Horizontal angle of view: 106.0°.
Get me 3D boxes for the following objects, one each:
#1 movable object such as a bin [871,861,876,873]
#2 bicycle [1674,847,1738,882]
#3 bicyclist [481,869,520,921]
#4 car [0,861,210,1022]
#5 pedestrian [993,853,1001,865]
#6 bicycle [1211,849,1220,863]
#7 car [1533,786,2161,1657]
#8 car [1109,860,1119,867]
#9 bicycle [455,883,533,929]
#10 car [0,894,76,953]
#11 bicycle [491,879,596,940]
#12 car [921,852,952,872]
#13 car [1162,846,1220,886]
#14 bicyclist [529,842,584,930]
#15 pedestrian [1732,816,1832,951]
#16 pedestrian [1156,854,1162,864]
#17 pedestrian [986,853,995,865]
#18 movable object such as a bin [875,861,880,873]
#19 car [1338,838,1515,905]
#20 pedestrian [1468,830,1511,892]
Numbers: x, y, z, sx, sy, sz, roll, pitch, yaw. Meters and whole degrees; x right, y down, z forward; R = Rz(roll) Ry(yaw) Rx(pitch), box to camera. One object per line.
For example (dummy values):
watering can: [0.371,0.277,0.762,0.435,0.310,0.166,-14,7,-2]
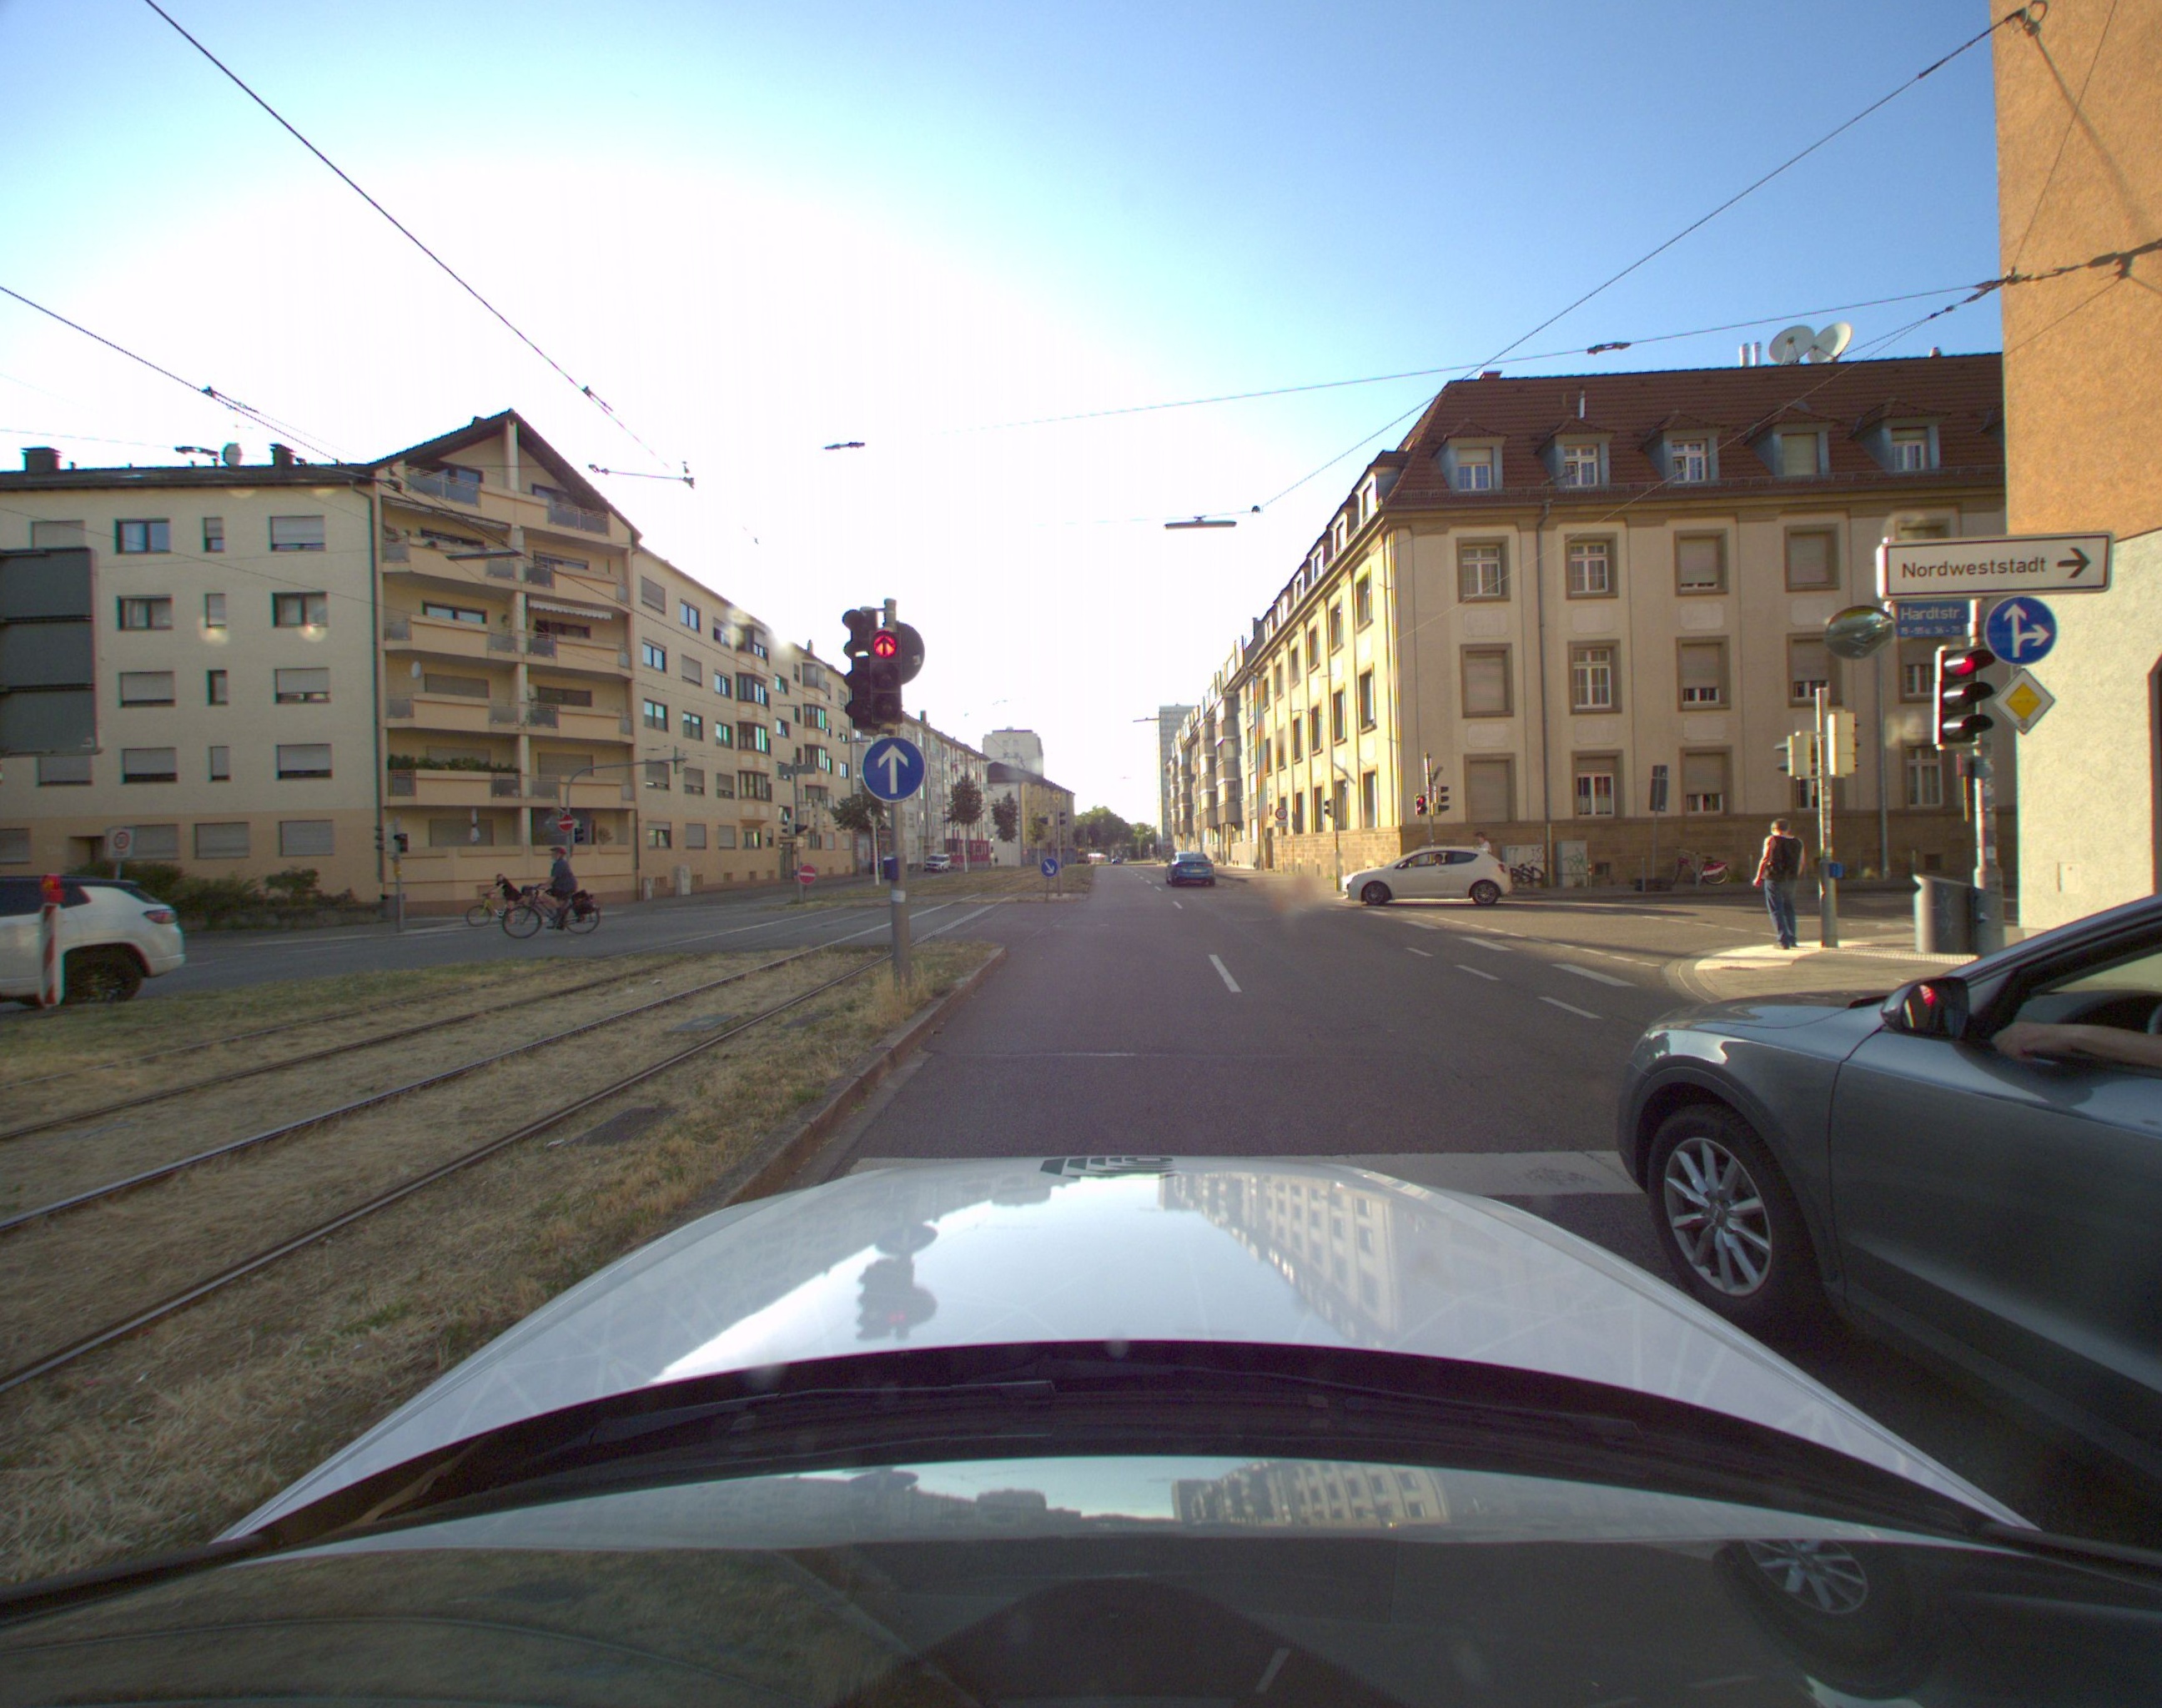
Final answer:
movable object such as a bin: [-17.536,1.122,68.926,0.297,1.036,0.442,0,-1,4]
bicycle: [18.391,0.325,23.992,1.491,1.018,0.251,-1,-1,17]
bicyclist: [-18.163,1.268,25.481,0.620,1.586,0.814,-1,0,35]
car: [-13.138,1.066,8.971,1.974,1.734,4.420,-5,-1,28]
pedestrian: [-11.900,0.751,115.498,0.957,1.670,1.013,-1,-1,7]
bicycle: [10.214,0.156,61.800,0.382,1.096,1.503,-2,-1,0]
car: [2.775,0.659,1.467,1.691,1.552,4.227,0,0,2]
car: [8.445,2.450,206.713,1.885,1.633,4.761,-2,0,10]
bicycle: [-18.225,1.594,25.335,0.450,1.257,1.883,-1,1,34]
car: [-30.212,1.909,21.699,3.983,1.442,1.995,-2,0,-7]
bicycle: [-12.023,1.229,18.269,1.870,1.257,0.453,-2,1,-19]
car: [-14.524,0.814,82.144,1.984,1.925,4.548,-1,-1,5]
car: [4.620,0.494,34.771,1.986,1.554,4.394,0,-1,1]
bicyclist: [-11.792,0.699,18.321,0.808,1.882,0.649,-3,2,-18]
pedestrian: [9.512,0.389,11.082,0.627,1.758,0.826,0,-1,1]
pedestrian: [9.907,0.597,103.588,0.688,1.234,0.737,0,-1,2]
pedestrian: [-12.810,0.757,115.345,0.957,1.694,1.013,-1,-1,7]
movable object such as a bin: [-17.354,1.112,69.381,0.297,1.036,0.441,0,-1,1]
car: [8.787,0.465,20.932,3.952,1.564,2.011,-2,-1,22]
pedestrian: [11.797,0.202,23.536,0.832,1.762,0.824,0,-1,1]
